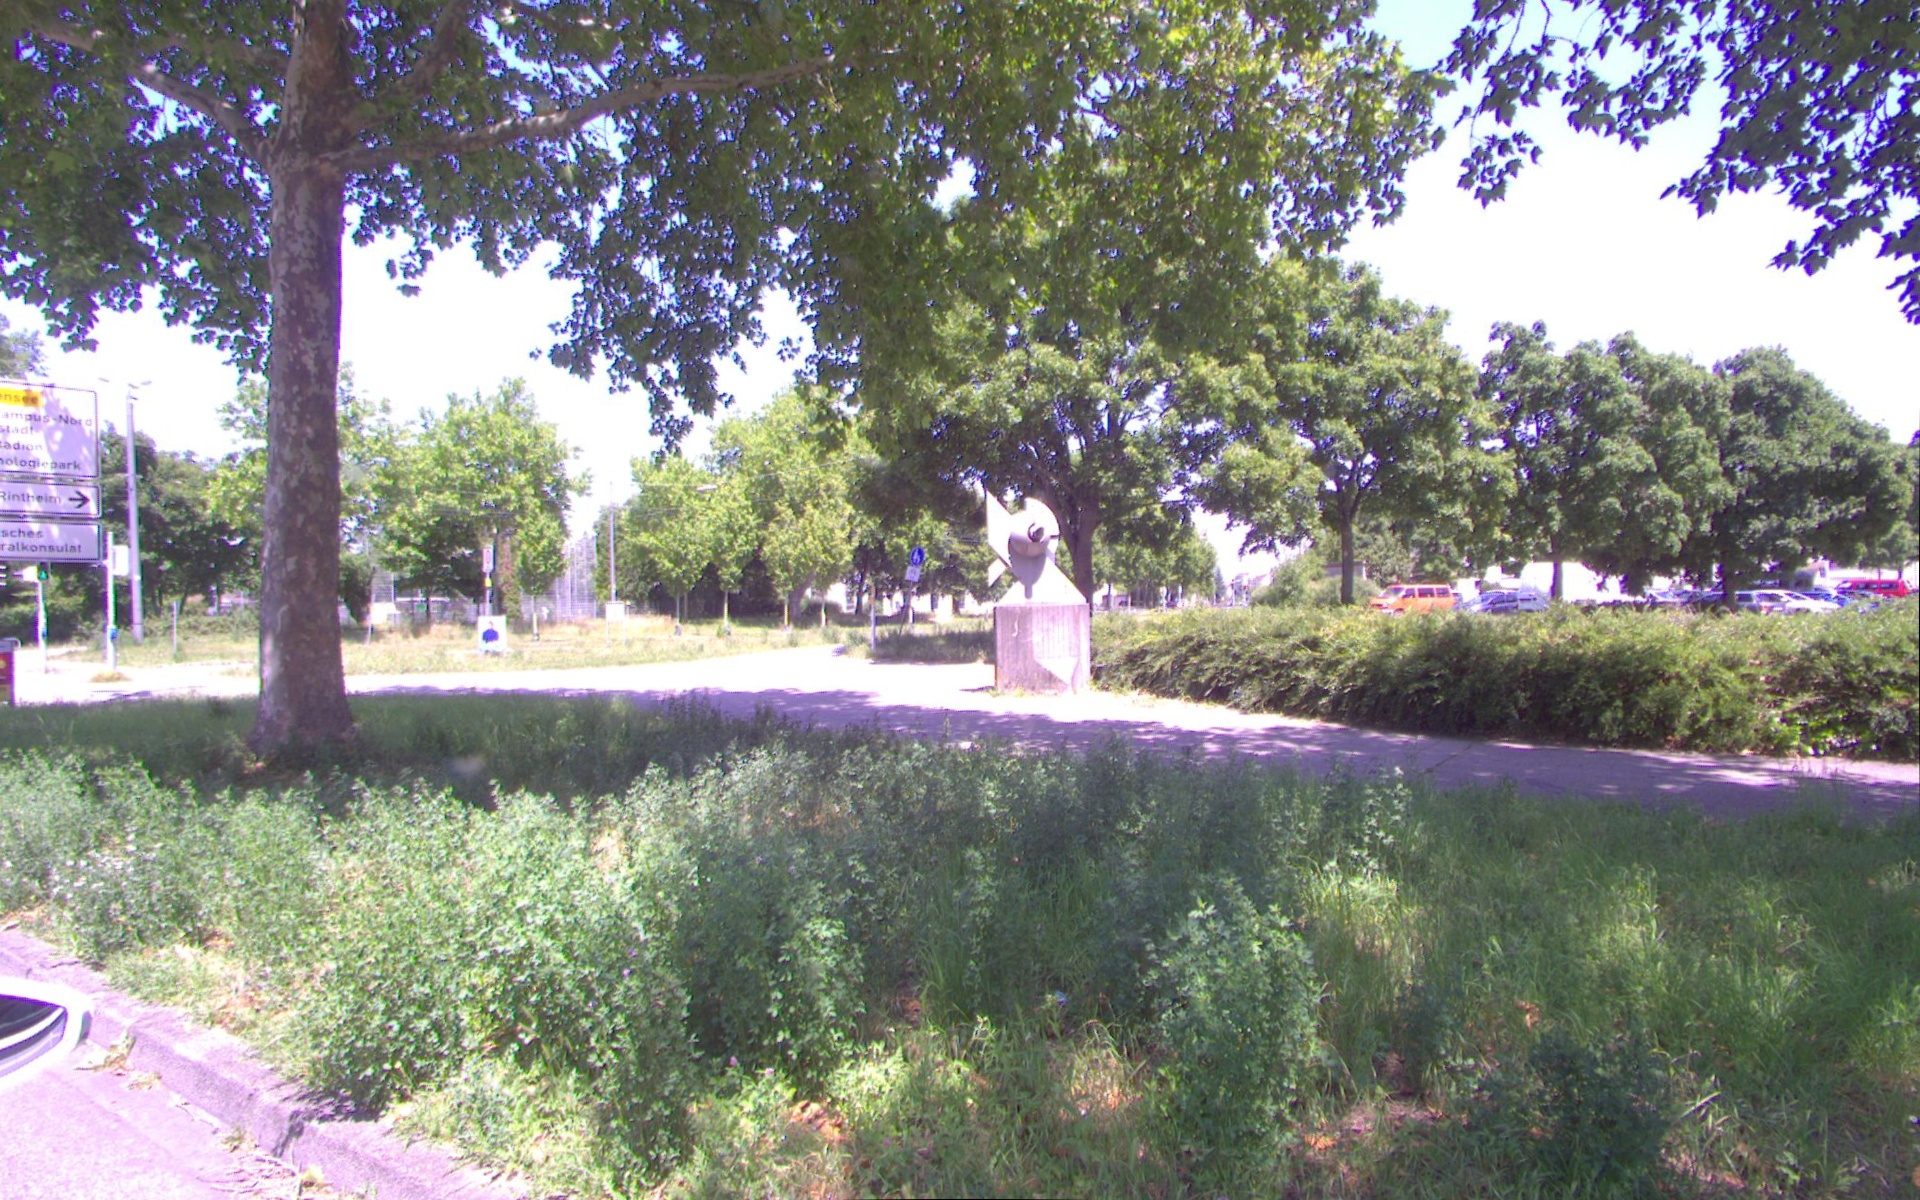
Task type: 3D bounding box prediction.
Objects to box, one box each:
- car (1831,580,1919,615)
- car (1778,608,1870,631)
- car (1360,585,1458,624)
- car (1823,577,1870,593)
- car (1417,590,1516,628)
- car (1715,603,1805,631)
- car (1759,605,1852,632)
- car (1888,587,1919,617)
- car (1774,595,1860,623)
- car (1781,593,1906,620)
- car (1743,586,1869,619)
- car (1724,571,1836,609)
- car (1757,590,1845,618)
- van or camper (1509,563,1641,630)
[{"bbox_3d":[57.247,-0.121,62.421,1.935,2.039,3.988,0,-2,-23],"label":"car"},{"bbox_3d":[33.554,0.758,38.940,0.938,0.852,2.590,-1,0,-25],"label":"car"},{"bbox_3d":[23.849,0.223,53.231,4.582,2.029,2.069,0,0,-19],"label":"car"},{"bbox_3d":[92.557,-1.557,104.561,3.309,1.639,1.439,-1,0,18],"label":"car"},{"bbox_3d":[23.934,0.407,47.323,4.000,1.741,1.952,-1,0,-18],"label":"car"},{"bbox_3d":[30.753,0.643,38.555,0.938,1.050,2.590,-1,0,-25],"label":"car"},{"bbox_3d":[32.394,0.701,38.433,0.938,1.000,2.590,-1,0,-25],"label":"car"},{"bbox_3d":[44.650,0.071,45.420,1.690,1.384,3.414,-1,0,-25],"label":"car"},{"bbox_3d":[35.500,0.373,41.525,0.938,1.141,2.590,-1,0,-25],"label":"car"},{"bbox_3d":[36.721,0.291,41.703,1.655,1.048,3.553,-1,0,-25],"label":"car"},{"bbox_3d":[34.389,0.081,40.797,1.595,1.242,3.559,0,1,-25],"label":"car"},{"bbox_3d":[46.414,-0.553,56.797,2.209,2.040,4.409,-1,0,-22],"label":"car"},{"bbox_3d":[34.372,0.171,40.986,0.991,1.141,2.590,-1,0,-25],"label":"car"},{"bbox_3d":[27.010,-0.165,43.991,5.039,2.787,2.199,-1,0,-18],"label":"van or camper"}]
